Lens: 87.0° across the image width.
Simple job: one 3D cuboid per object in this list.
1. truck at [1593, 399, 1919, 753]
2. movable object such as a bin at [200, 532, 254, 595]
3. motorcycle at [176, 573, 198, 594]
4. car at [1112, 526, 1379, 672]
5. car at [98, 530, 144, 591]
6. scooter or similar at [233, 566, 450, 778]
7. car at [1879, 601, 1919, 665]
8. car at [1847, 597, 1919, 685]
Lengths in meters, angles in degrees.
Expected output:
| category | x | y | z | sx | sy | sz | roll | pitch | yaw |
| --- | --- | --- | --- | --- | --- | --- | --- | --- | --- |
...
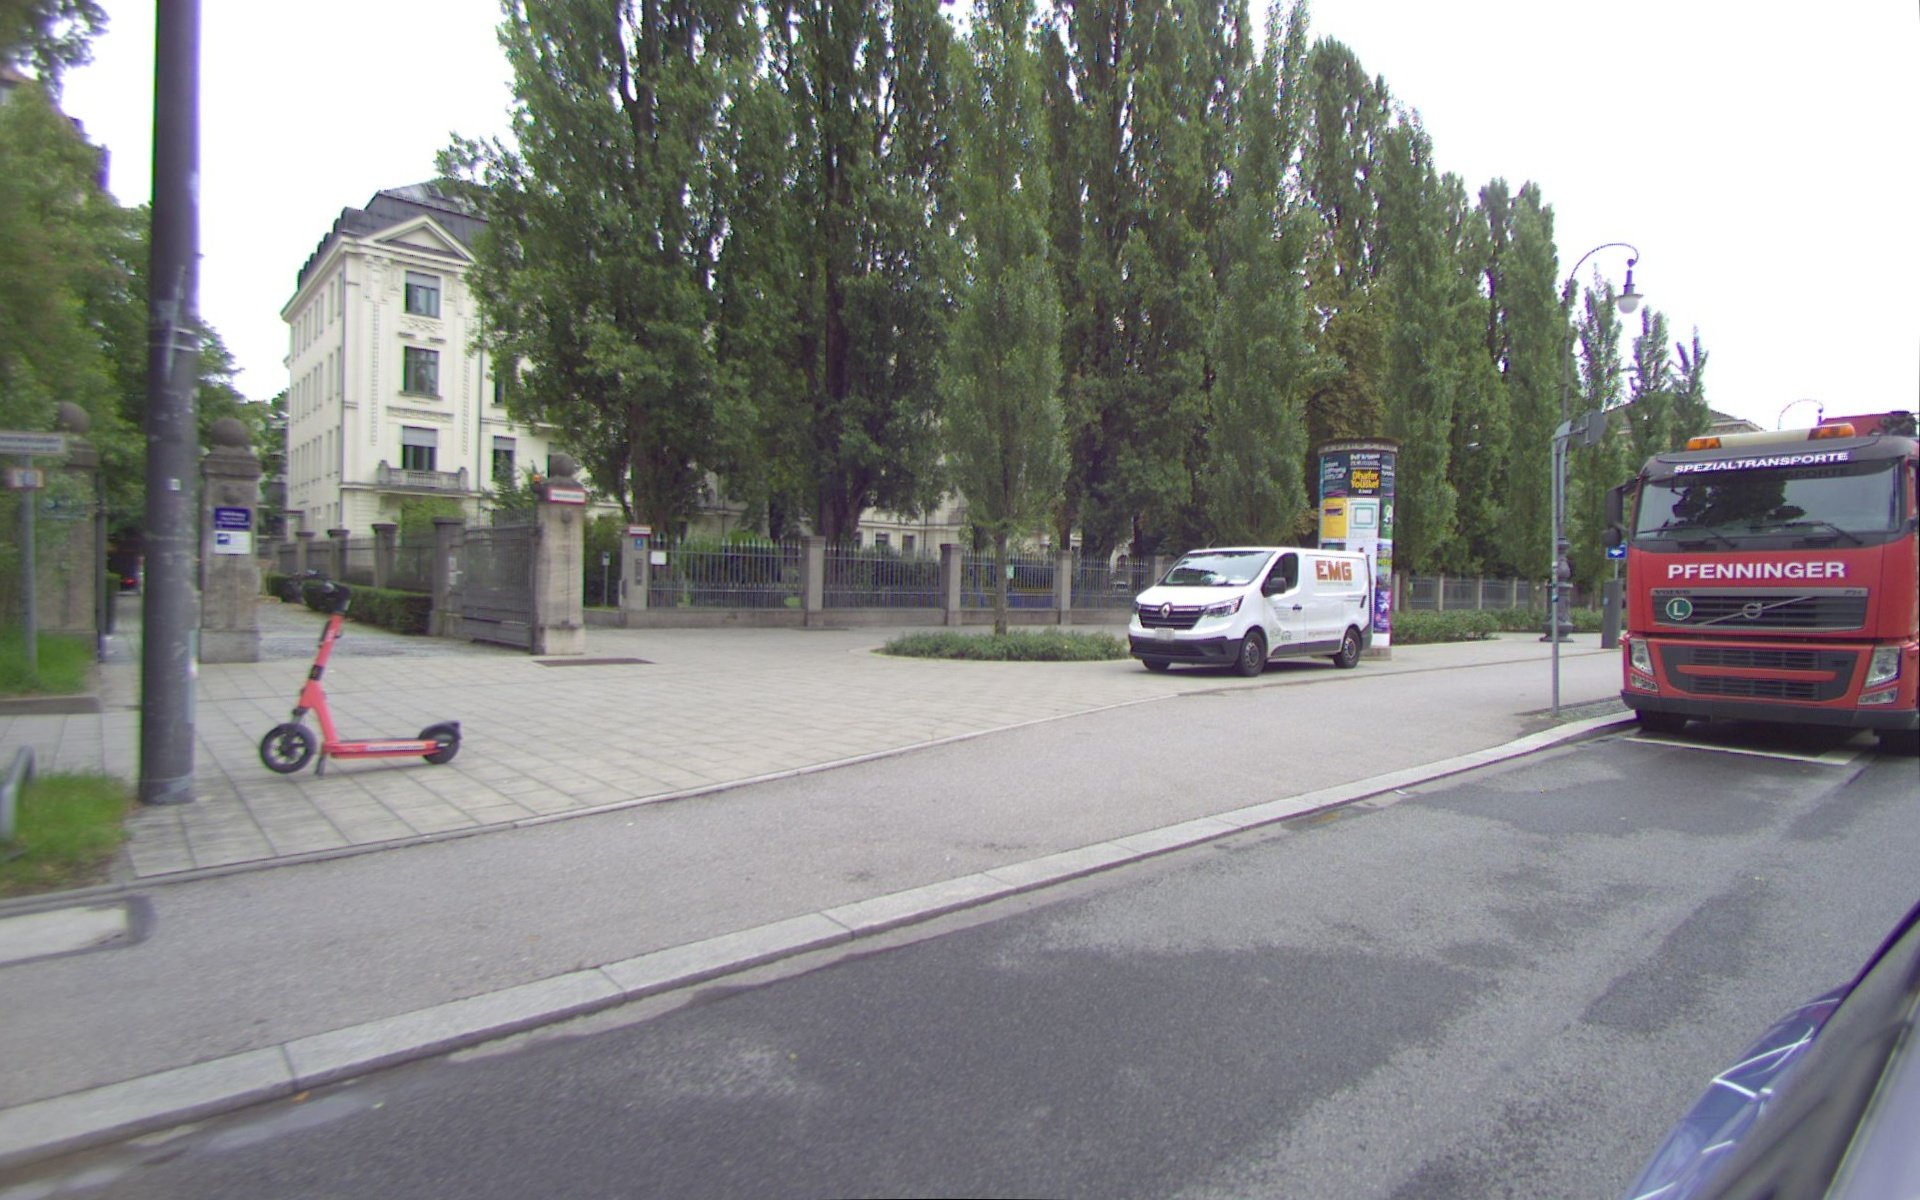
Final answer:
| category | x | y | z | sx | sy | sz | roll | pitch | yaw |
| --- | --- | --- | --- | --- | --- | --- | --- | --- | --- |
| truck | 11.611 | -0.251 | 13.303 | 10.244 | 3.148 | 2.718 | 0 | 2 | -41 |
| movable object such as a bin | -26.697 | -1.324 | 36.820 | 1.407 | 2.167 | 3.678 | 1 | 1 | -39 |
| motorcycle | -28.481 | -0.623 | 37.273 | 0.611 | 0.744 | 1.566 | 0 | 1 | -38 |
| car | 4.641 | -0.010 | 16.023 | 4.802 | 1.969 | 1.882 | 0 | 0 | -43 |
| car | -29.502 | -1.387 | 35.569 | 1.140 | 2.037 | 3.499 | 0 | 1 | -41 |
| scooter or similar | -4.022 | 0.431 | 6.625 | 1.165 | 1.281 | 0.337 | 0 | 1 | -41 |
| car | 21.814 | 0.718 | 22.332 | 4.293 | 1.326 | 1.739 | 0 | 2 | -41 |
| car | 17.824 | 0.701 | 18.594 | 4.144 | 1.478 | 1.790 | 0 | 1 | -42 |
